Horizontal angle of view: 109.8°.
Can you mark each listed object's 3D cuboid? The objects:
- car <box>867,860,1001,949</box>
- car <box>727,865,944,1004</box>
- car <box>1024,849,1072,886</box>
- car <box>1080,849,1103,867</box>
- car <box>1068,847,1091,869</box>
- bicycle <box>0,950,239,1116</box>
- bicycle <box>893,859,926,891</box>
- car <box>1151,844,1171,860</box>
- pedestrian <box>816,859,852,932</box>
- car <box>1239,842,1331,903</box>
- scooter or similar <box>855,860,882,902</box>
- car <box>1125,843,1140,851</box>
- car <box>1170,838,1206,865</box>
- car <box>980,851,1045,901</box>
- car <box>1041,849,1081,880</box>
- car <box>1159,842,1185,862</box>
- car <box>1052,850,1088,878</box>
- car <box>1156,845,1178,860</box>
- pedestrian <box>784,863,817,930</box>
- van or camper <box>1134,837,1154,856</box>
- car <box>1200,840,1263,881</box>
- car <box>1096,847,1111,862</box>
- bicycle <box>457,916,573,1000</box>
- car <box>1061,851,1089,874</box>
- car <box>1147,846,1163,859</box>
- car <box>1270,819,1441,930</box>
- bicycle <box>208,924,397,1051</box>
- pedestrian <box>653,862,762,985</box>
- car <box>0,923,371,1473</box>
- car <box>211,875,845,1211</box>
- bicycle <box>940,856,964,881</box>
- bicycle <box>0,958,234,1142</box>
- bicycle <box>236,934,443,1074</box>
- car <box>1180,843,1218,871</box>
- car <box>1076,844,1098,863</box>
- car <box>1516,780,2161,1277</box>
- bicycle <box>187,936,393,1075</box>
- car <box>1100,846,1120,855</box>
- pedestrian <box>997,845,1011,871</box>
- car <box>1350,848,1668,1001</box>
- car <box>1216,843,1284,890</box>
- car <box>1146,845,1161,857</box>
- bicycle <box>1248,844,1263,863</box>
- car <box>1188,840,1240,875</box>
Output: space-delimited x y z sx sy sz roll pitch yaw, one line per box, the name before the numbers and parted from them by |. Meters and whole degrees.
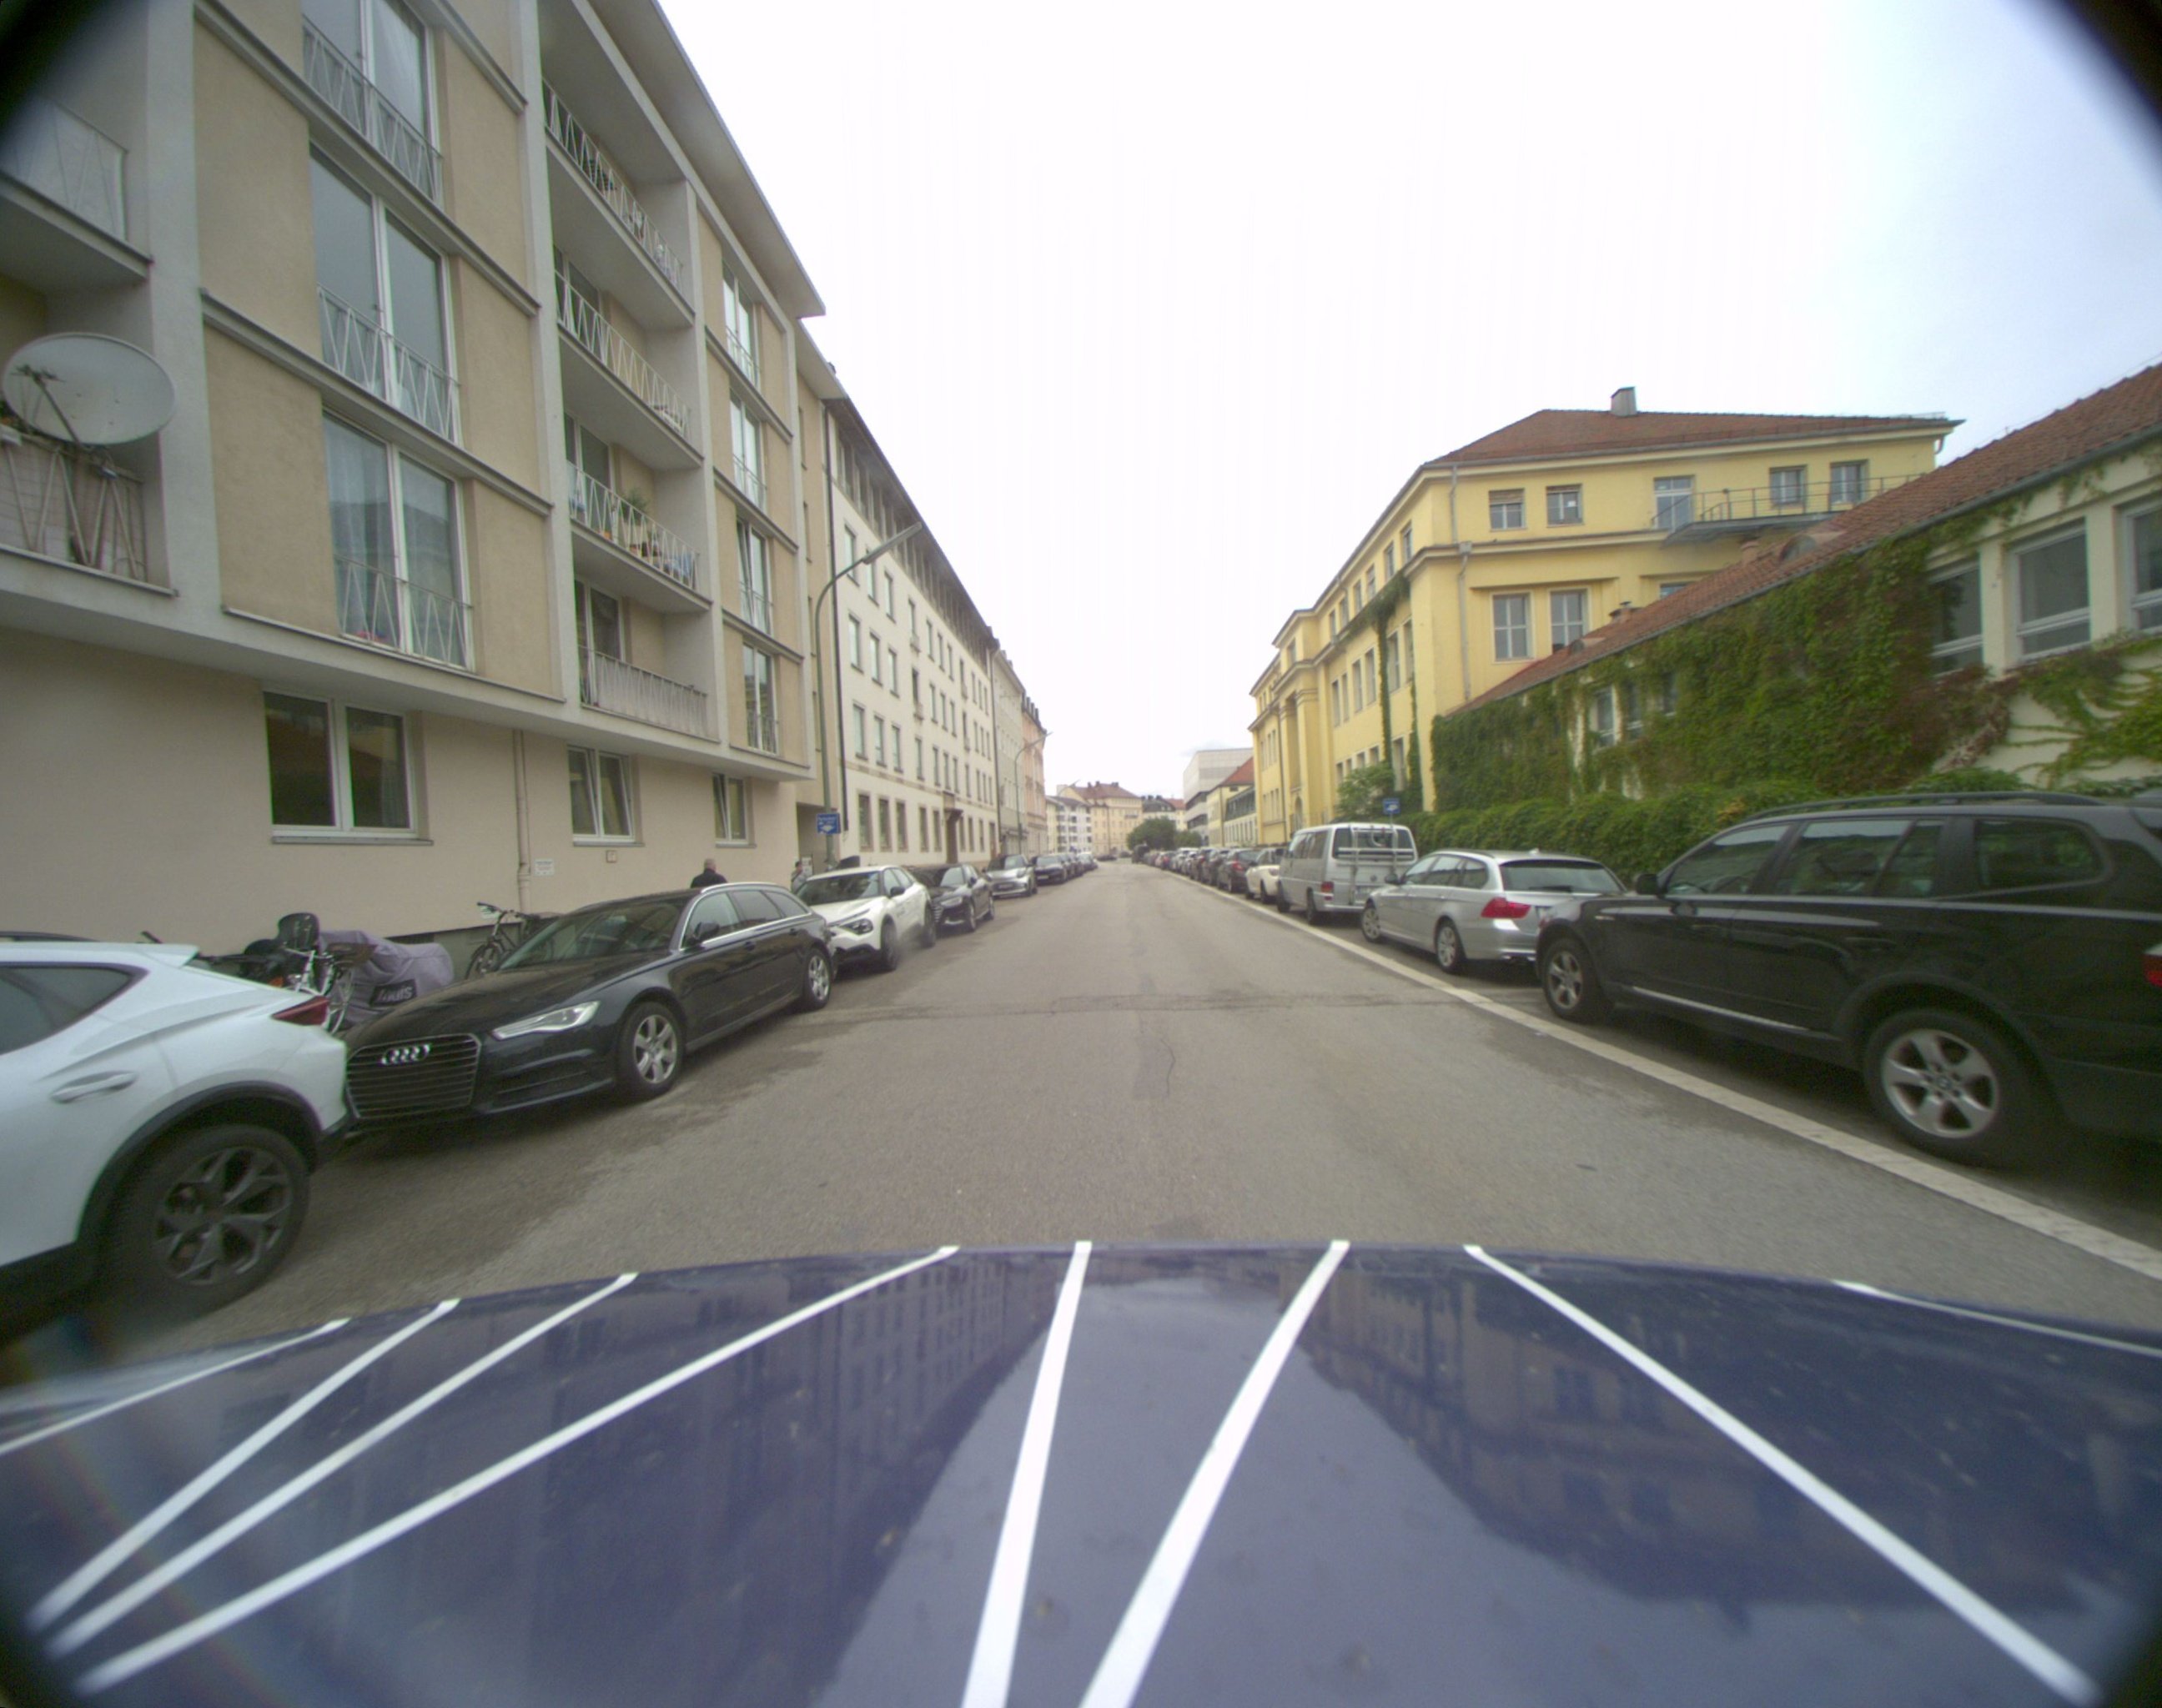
car | -3.024 0.984 16.625 1.800 1.412 4.482 -6 1 2
car | -3.505 1.055 11.759 1.743 1.490 4.219 -5 1 2
car | -1.545 0.629 37.480 1.860 1.535 4.816 -4 1 2
car | 0.944 0.338 67.857 1.696 1.443 4.084 -1 1 5
car | -0.069 0.268 60.773 1.696 1.574 4.082 -3 1 1
bicycle | -7.951 1.401 6.250 0.390 1.018 1.401 -1 1 3
bicycle | -6.521 0.778 28.973 0.660 1.156 2.028 -1 1 3
car | 8.159 -0.179 77.742 1.679 1.557 3.997 1 1 1
pedestrian | -5.729 0.953 17.655 0.598 1.645 0.630 0 1 3
car | 5.412 0.424 20.584 1.582 1.484 3.730 1 1 2
scooter or similar | -6.875 0.855 24.603 0.601 1.246 1.037 -1 4 -5
car | 13.948 -1.852 205.690 3.996 1.849 2.000 -2 1 4
car | 6.905 -0.204 49.421 1.684 1.624 4.356 -3 1 0
car | -2.447 0.749 28.041 1.675 1.526 3.882 -5 0 4
car | -1.076 0.554 43.122 1.782 1.575 4.272 -2 1 4
car | 7.099 -0.184 59.530 1.684 1.487 3.986 1 1 3
car | -0.655 0.590 47.920 1.782 1.575 4.330 -3 1 5
car | 8.135 -0.185 72.206 1.679 1.390 3.997 1 1 1
pedestrian | -6.673 0.998 18.107 0.532 1.576 0.560 0 1 3
van or camper | 9.453 -1.090 113.891 2.141 2.791 5.570 -1 0 -4
car | 6.008 0.215 30.714 1.786 1.529 4.148 0 1 1
car | 2.463 0.037 83.626 1.607 1.633 3.631 -2 1 2
bicycle | -7.626 1.374 10.307 0.445 0.930 1.401 -1 1 3
car | -0.385 0.599 55.927 1.696 1.455 4.083 -2 1 4
car | 8.520 -0.184 88.007 1.797 1.397 4.129 1 1 5
car | 5.248 0.295 15.288 1.998 1.865 4.758 0 1 4
bicycle | -7.849 1.305 7.747 0.390 1.018 1.401 -1 1 3
pedestrian | -5.584 0.998 11.458 0.900 1.678 1.319 -2 1 2
car | -4.151 1.212 1.326 1.744 1.529 4.271 -7 1 -2
car | -3.802 1.129 6.486 1.743 1.490 4.495 -7 1 4
bicycle | -6.139 0.681 36.170 0.660 1.120 2.028 -1 1 3
bicycle | -7.324 1.392 5.651 0.390 1.018 1.401 -1 1 3
bicycle | -6.904 1.355 7.171 0.484 1.018 1.401 -1 1 3
car | 6.742 0.128 43.897 1.684 1.418 3.894 -3 1 2
car | 0.630 -0.050 79.029 1.845 1.775 4.895 -5 0 3
car | 4.637 0.589 4.528 1.623 1.720 4.424 2 1 2
bicycle | -7.413 1.377 7.211 0.390 1.018 1.401 -1 1 3
car | 6.488 -0.751 169.550 4.247 1.849 1.999 -2 1 -2
pedestrian | -4.876 0.250 48.093 0.736 1.616 0.828 -1 1 4
car | 4.975 0.674 9.673 1.705 1.415 4.424 1 1 3
car | 5.629 0.351 25.726 1.582 1.447 3.904 0 1 2
car | 9.815 -0.429 102.662 1.699 1.553 3.867 1 1 1
bicycle | 11.120 -0.048 48.400 0.578 1.182 1.562 -5 1 4
car | 6.201 0.132 35.817 1.786 1.529 4.195 1 1 1
